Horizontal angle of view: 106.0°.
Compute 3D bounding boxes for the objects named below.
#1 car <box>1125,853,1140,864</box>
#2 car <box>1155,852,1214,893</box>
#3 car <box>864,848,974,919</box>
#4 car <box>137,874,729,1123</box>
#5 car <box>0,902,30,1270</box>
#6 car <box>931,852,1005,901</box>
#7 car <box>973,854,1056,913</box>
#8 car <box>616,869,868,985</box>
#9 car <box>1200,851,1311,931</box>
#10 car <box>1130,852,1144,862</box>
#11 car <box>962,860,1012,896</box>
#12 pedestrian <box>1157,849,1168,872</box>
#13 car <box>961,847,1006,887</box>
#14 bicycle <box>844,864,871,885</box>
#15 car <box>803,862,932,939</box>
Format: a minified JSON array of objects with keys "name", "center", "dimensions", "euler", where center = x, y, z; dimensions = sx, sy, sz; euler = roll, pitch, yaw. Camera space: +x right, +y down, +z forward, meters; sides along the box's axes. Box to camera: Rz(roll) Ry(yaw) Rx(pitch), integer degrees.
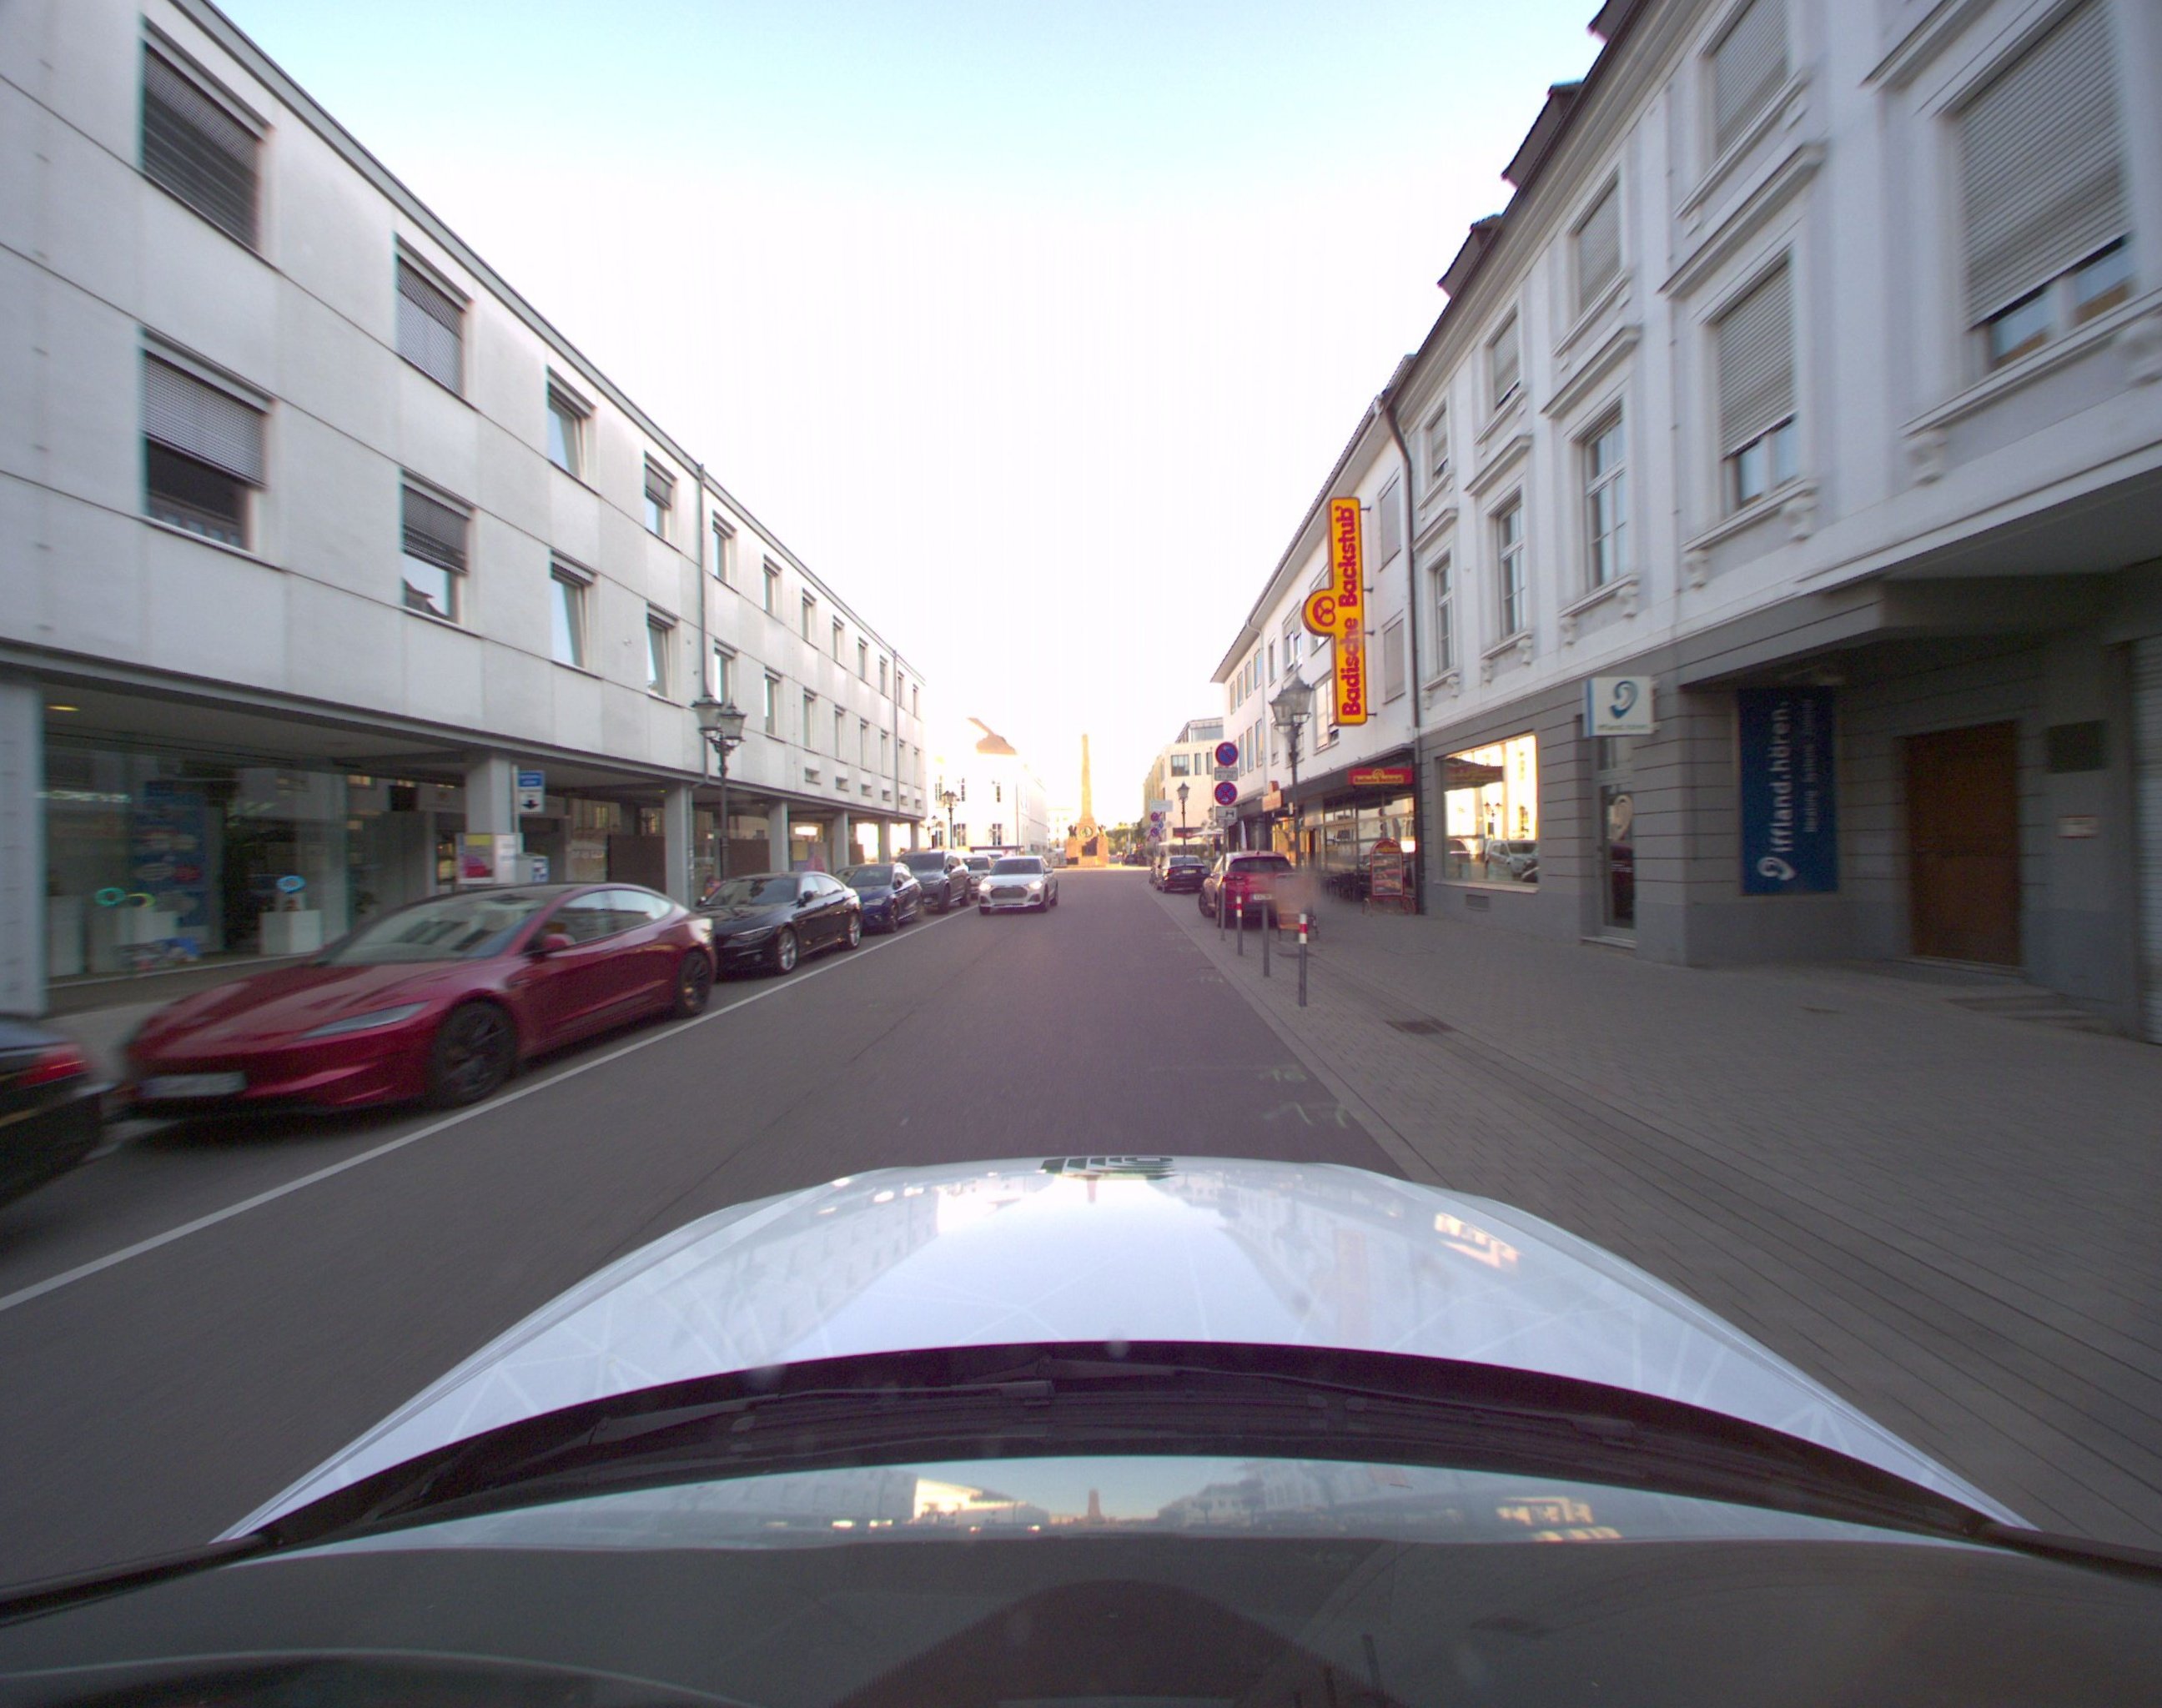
[{"name":"car","center":[7.132,0.560,113.164],"dimensions":[1.985,1.464,4.004],"euler":[-1,0,3]},{"name":"car","center":[3.932,0.663,31.515],"dimensions":[1.795,1.464,4.118],"euler":[-1,0,1]},{"name":"car","center":[-4.475,0.755,23.265],"dimensions":[1.986,1.728,4.519],"euler":[-3,0,2]},{"name":"car","center":[-4.983,0.968,7.184],"dimensions":[1.778,1.408,4.091],"euler":[-2,0,3]},{"name":"car","center":[-5.158,0.927,1.200],"dimensions":[1.778,1.408,4.091],"euler":[-2,0,3]},{"name":"car","center":[-4.095,0.782,30.082],"dimensions":[1.986,1.662,4.003],"euler":[-1,0,2]},{"name":"car","center":[-1.703,0.734,22.111],"dimensions":[1.757,1.422,4.003],"euler":[-1,0,2]},{"name":"car","center":[-4.854,0.969,12.395],"dimensions":[1.986,1.354,4.003],"euler":[-1,0,2]},{"name":"car","center":[3.653,0.715,17.661],"dimensions":[1.752,1.523,3.679],"euler":[-1,0,2]},{"name":"car","center":[8.382,0.485,121.610],"dimensions":[1.985,1.464,4.004],"euler":[-1,0,3]},{"name":"car","center":[-3.958,0.969,34.749],"dimensions":[1.672,1.353,4.104],"euler":[-1,0,-1]},{"name":"pedestrian","center":[5.918,0.452,59.008],"dimensions":[0.687,1.647,0.696],"euler":[-2,0,1]},{"name":"car","center":[-4.683,0.599,39.818],"dimensions":[1.990,1.816,4.775],"euler":[-1,0,-5]},{"name":"bicycle","center":[-11.609,1.054,42.375],"dimensions":[0.730,0.983,2.336],"euler":[-1,0,1]},{"name":"car","center":[-4.587,0.938,18.093],"dimensions":[1.667,1.400,4.001],"euler":[-2,0,1]}]
